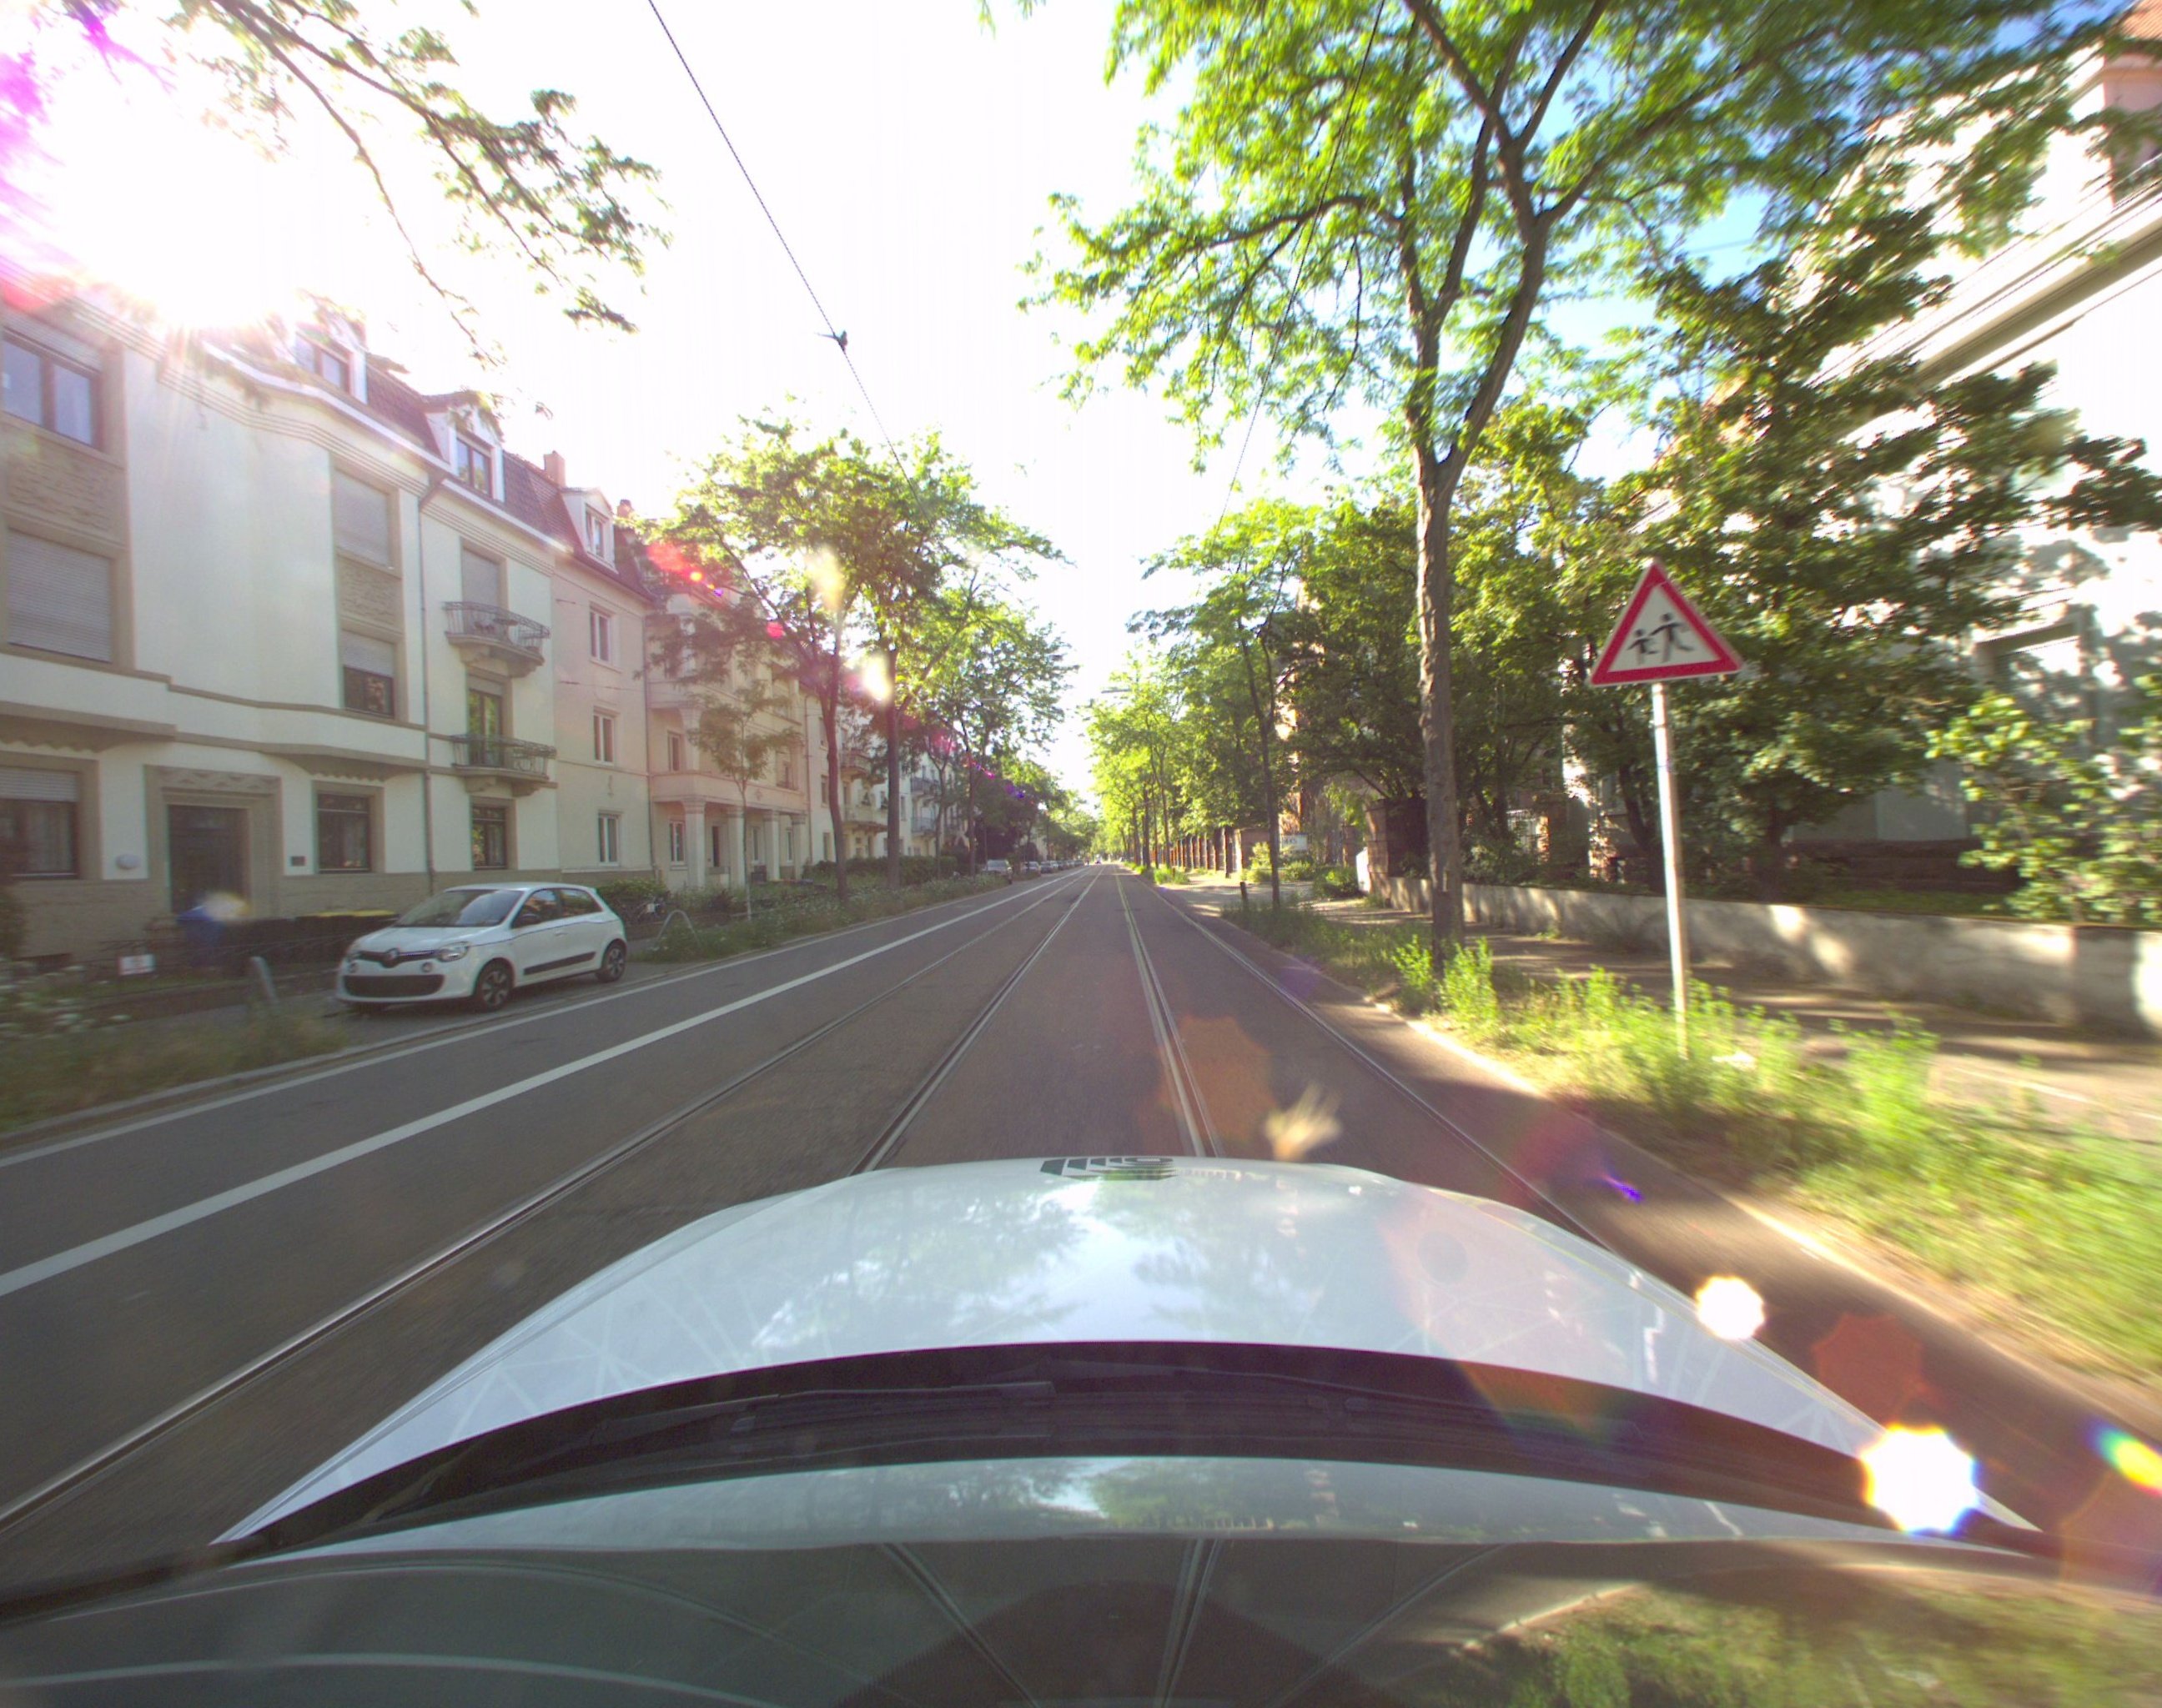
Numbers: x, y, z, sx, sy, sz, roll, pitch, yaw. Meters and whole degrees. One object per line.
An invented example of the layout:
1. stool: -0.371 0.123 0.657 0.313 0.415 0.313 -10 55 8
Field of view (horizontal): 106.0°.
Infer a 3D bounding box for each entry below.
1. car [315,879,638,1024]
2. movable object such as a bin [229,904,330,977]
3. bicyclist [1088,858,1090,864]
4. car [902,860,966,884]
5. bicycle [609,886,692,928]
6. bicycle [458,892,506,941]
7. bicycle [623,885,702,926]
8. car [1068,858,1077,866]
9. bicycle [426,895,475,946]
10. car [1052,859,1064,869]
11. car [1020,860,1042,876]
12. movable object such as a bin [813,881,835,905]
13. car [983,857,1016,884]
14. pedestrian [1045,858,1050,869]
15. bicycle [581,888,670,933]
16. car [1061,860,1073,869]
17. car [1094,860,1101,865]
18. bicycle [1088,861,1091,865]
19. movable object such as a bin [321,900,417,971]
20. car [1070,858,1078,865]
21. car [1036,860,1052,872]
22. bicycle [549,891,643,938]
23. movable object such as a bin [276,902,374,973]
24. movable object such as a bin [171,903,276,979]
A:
1. car: -7.952 1.174 11.204 1.620 1.535 3.690 -1 0 0
2. movable object such as a bin: -13.186 1.404 13.426 0.735 1.085 0.896 -3 -1 2
3. bicyclist: 2.189 1.986 222.421 0.624 1.639 0.940 -5 -1 2
4. car: -10.933 1.340 60.627 4.282 1.661 1.954 -1 0 3
5. bicycle: -11.577 1.401 21.947 1.872 0.996 0.551 -2 -1 -42
6. bicycle: -14.182 1.454 19.266 1.839 0.996 0.562 0 1 43
7. bicycle: -11.690 1.412 22.789 1.872 0.996 0.551 -2 -1 -42
8. car: -1.665 1.625 164.855 1.696 1.485 4.081 0 0 2
9. bicycle: -14.115 1.459 18.203 1.839 0.996 0.562 0 1 43
10. car: -3.522 1.560 125.690 1.752 1.511 4.439 -1 0 1
11. car: -5.178 1.417 84.817 1.769 1.541 4.488 -1 0 2
12. movable object such as a bin: -10.319 1.565 32.754 0.625 0.921 0.740 -1 0 2
13. car: -5.851 1.157 58.938 1.864 1.823 4.771 -1 0 0
14. pedestrian: -5.332 1.494 130.391 0.689 1.801 0.813 -3 -1 2
15. bicycle: -11.675 1.424 20.913 1.872 0.996 0.551 -2 -1 -42
16. car: -2.344 1.792 138.669 1.810 1.485 4.208 -1 0 2
17. car: 4.827 2.461 238.666 1.752 1.439 4.524 -2 0 1
18. bicycle: 2.218 2.403 222.464 0.624 1.177 1.914 -5 -1 2
19. movable object such as a bin: -11.676 1.324 13.385 0.735 1.041 0.896 -3 0 2
20. car: -1.423 1.636 172.281 1.681 1.485 3.760 0 0 1
21. car: -4.715 1.540 103.700 1.699 1.406 4.334 -1 0 1
22. bicycle: -11.769 1.443 19.805 1.872 0.996 0.551 -2 -1 -42
23. movable object such as a bin: -12.426 1.360 13.413 0.735 1.054 0.896 -3 0 2
24. movable object such as a bin: -14.105 1.413 13.429 0.735 1.113 0.896 -3 -1 2
